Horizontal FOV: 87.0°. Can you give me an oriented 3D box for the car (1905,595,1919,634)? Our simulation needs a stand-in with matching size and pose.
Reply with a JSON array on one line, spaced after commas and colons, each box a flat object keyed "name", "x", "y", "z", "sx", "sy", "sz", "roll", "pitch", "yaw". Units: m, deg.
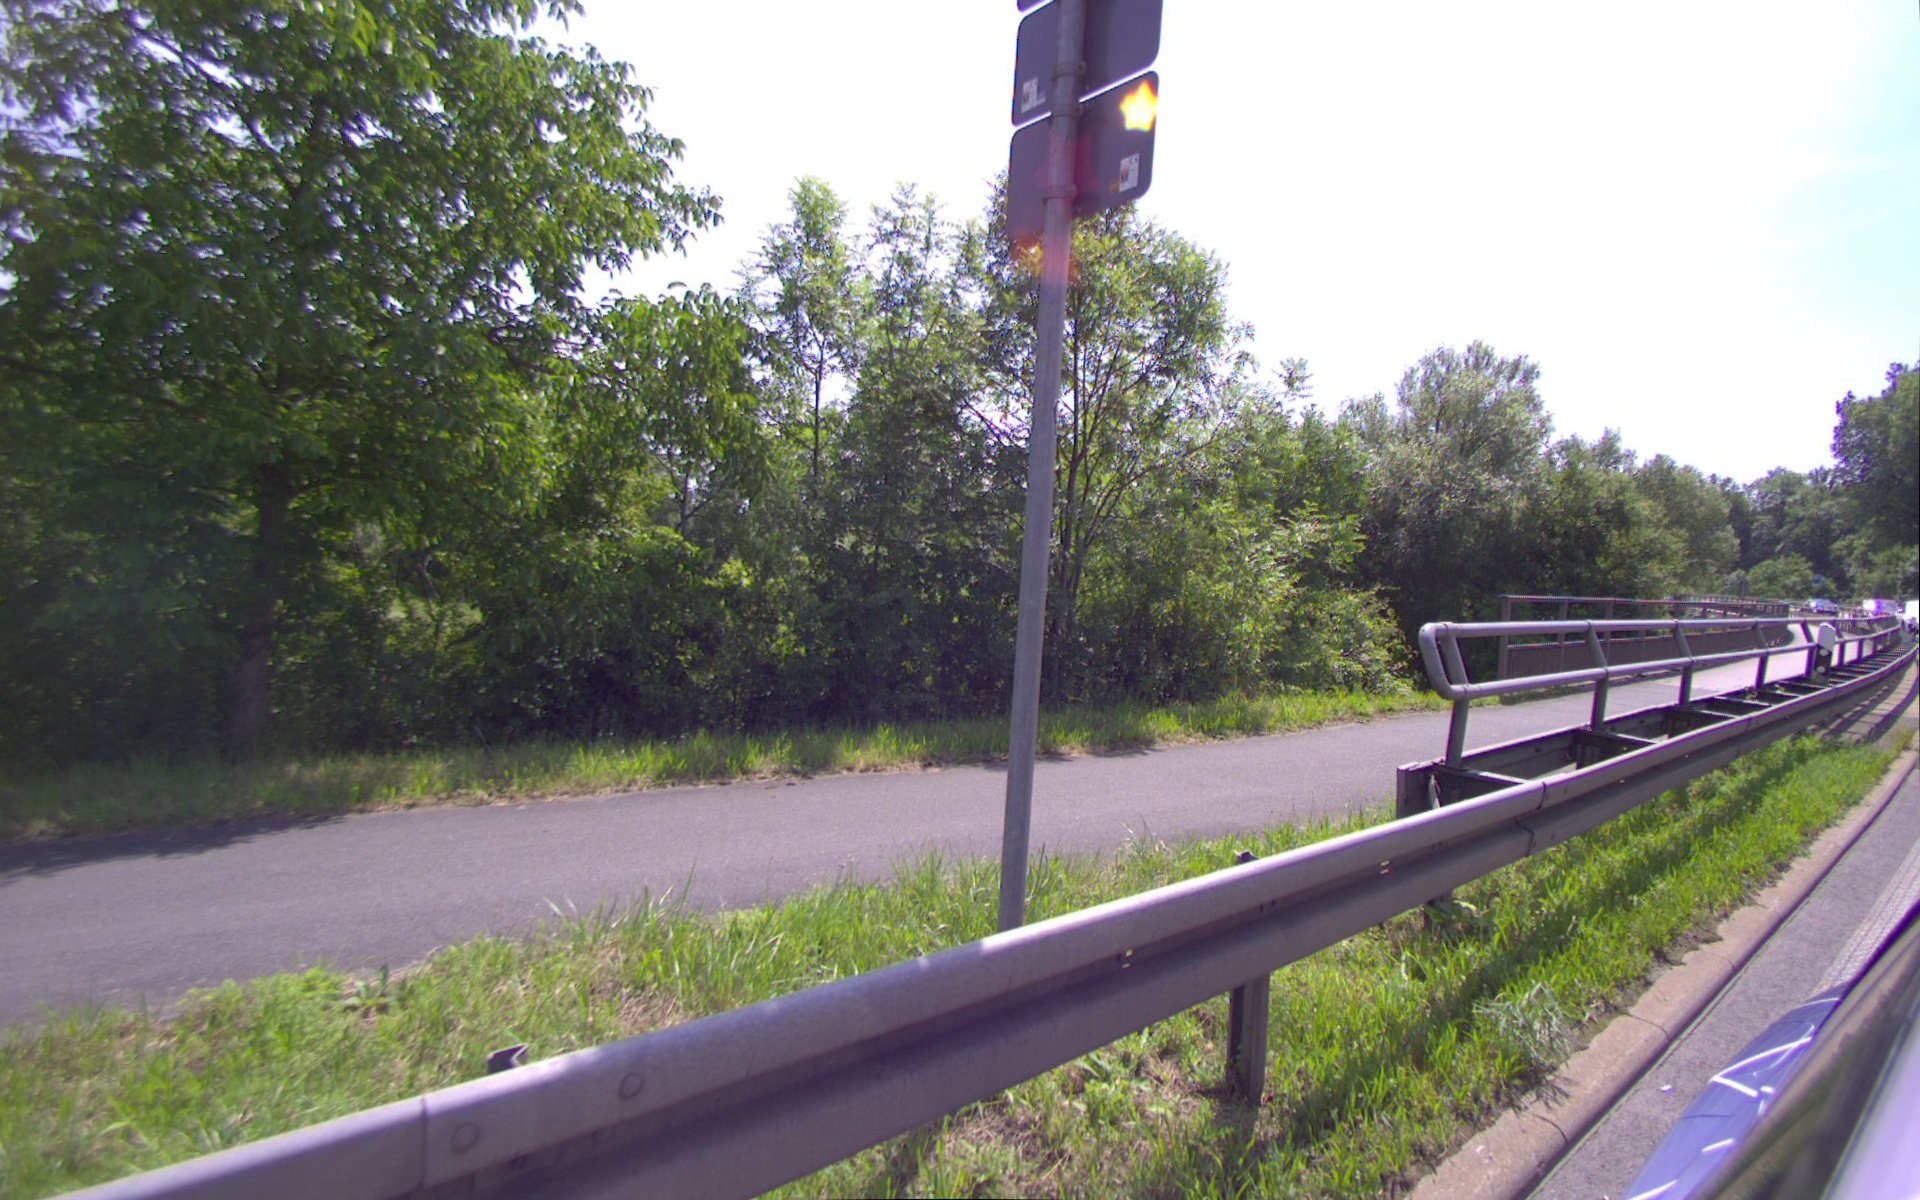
[{"name": "car", "x": 43.383, "y": 0.648, "z": 44.698, "sx": 1.899, "sy": 1.668, "sz": 3.898, "roll": 1, "pitch": 0, "yaw": 36}]

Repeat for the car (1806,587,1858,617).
[{"name": "car", "x": 62.062, "y": 0.090, "z": 72.079, "sx": 1.982, "sy": 2.039, "sz": 3.961, "roll": 0, "pitch": 1, "yaw": 28}]

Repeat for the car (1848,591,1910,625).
[{"name": "car", "x": 51.564, "y": 0.457, "z": 56.851, "sx": 1.986, "sy": 1.798, "sz": 3.949, "roll": -2, "pitch": -2, "yaw": 35}]
